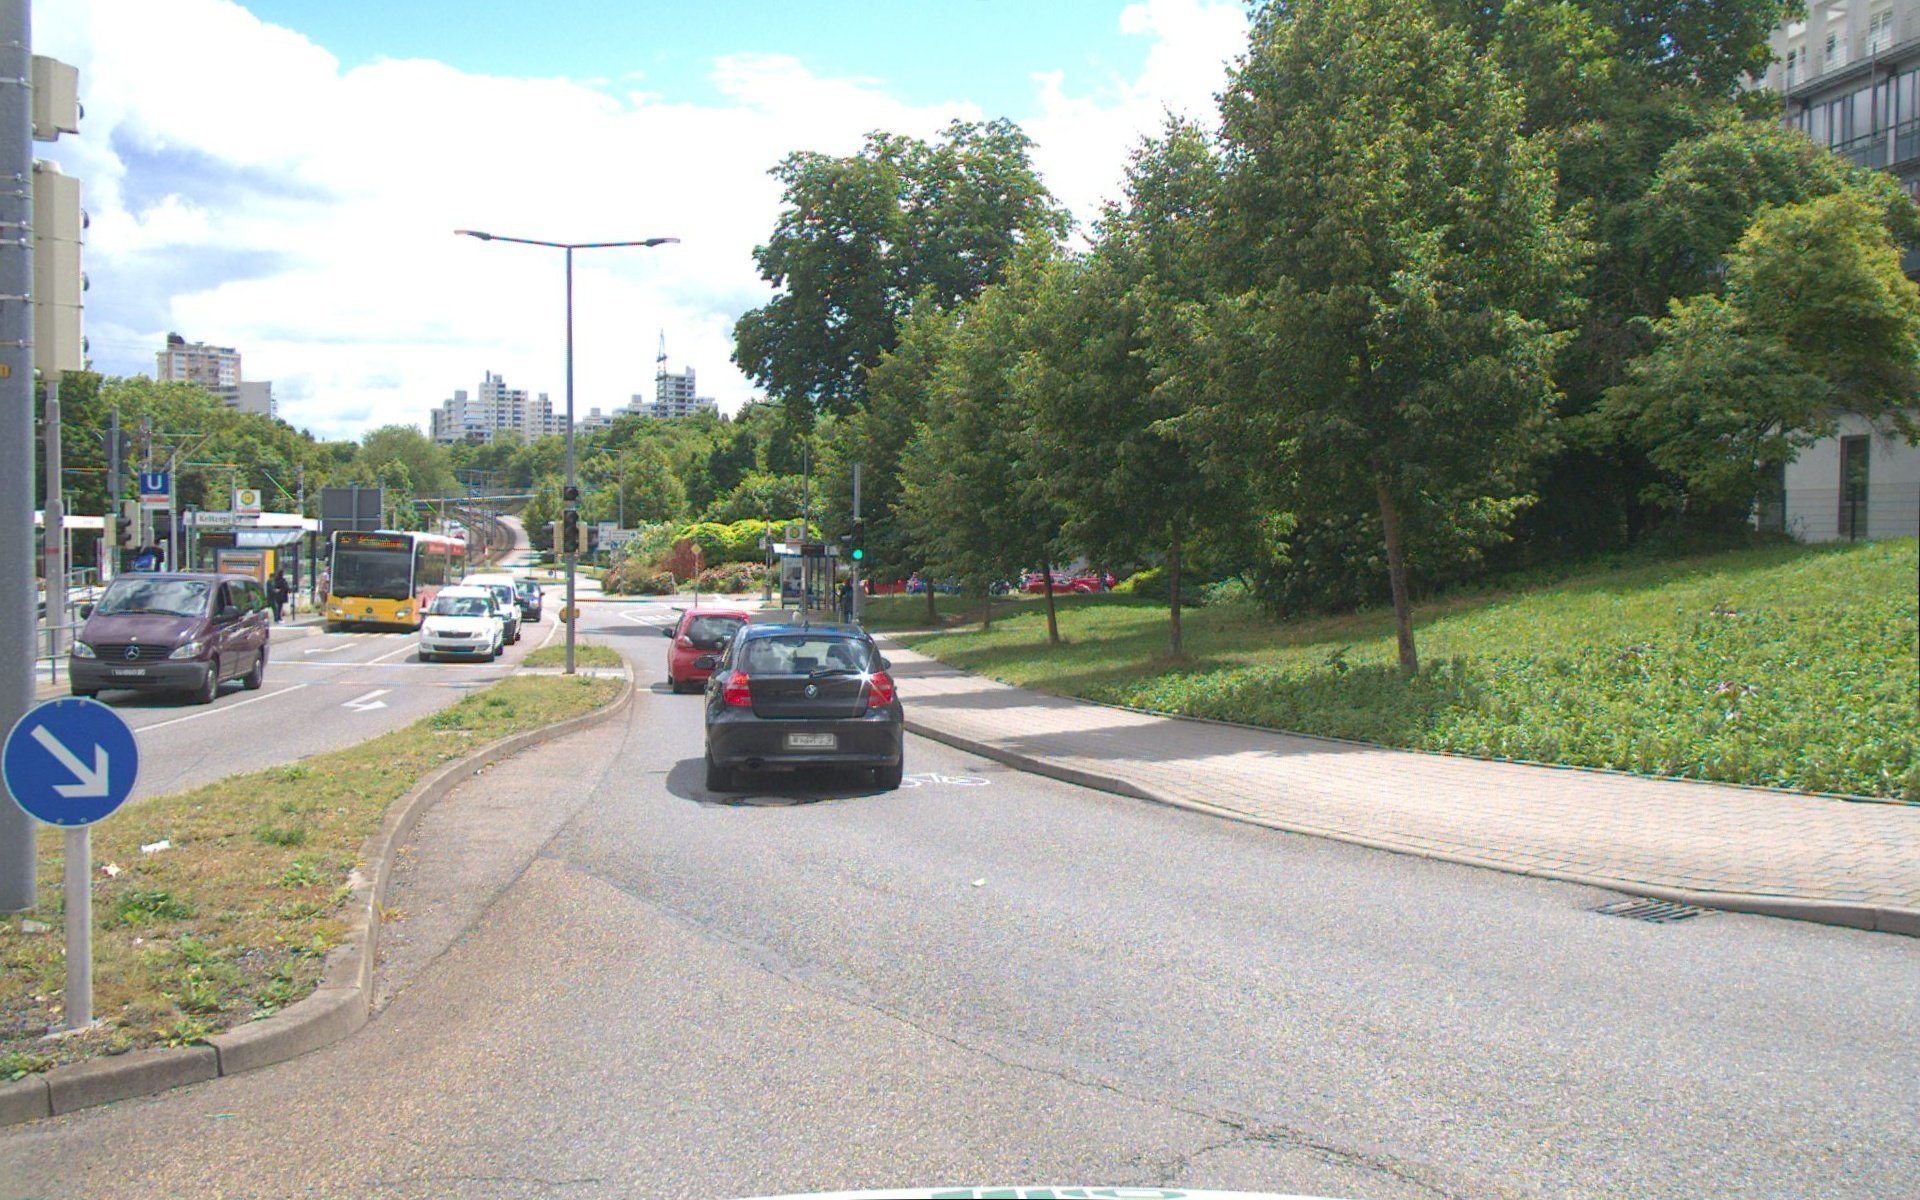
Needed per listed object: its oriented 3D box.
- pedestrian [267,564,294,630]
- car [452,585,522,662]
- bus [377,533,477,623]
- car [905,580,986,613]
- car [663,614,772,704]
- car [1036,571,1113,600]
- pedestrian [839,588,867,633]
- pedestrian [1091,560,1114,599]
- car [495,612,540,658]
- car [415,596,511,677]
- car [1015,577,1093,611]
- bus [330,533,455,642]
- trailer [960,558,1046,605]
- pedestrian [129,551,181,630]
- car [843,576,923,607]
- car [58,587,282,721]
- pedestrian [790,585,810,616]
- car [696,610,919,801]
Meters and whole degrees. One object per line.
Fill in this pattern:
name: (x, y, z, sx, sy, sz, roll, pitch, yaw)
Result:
pedestrian: (-21.412, -0.090, 52.111, 0.691, 2.049, 0.824, -1, 0, -17)
car: (-13.120, 0.600, 46.095, 1.732, 1.690, 4.492, -1, 5, -14)
bus: (-20.103, -0.955, 62.789, 2.678, 3.122, 8.938, 0, 2, -12)
car: (-0.729, -0.211, 83.737, 3.731, 1.481, 1.889, -2, 3, -16)
car: (-4.524, 1.040, 30.488, 1.735, 1.457, 3.468, -1, 1, -13)
car: (6.590, -0.869, 95.289, 4.013, 1.528, 1.993, -1, 3, -15)
pedestrian: (-3.542, 0.341, 54.716, 0.805, 1.449, 0.827, 0, 0, -12)
pedestrian: (6.626, -0.968, 76.814, 0.966, 1.791, 0.858, 0, 0, -3)
car: (-16.873, 1.317, 63.201, 1.503, 1.578, 3.720, 2, 0, -13)
car: (-11.380, 0.800, 38.078, 1.668, 1.677, 4.068, 1, 1, -11)
car: (4.825, -0.322, 85.236, 3.626, 1.672, 1.823, 0, 2, -16)
bus: (-18.203, -0.547, 53.614, 2.678, 3.163, 9.677, 0, 2, -12)
trailer: (2.436, -1.063, 94.190, 4.461, 2.530, 2.213, 0, 2, -15)
pedestrian: (-21.253, -0.257, 43.679, 0.953, 2.049, 1.026, 0, 0, -10)
car: (-4.285, -0.488, 91.993, 4.092, 1.588, 1.991, 0, 4, -18)
car: (-12.037, 0.769, 25.589, 1.959, 1.854, 5.056, 1, -1, -12)
pedestrian: (-6.871, 0.020, 71.028, 0.812, 1.281, 0.684, 0, 1, -10)
car: (-1.524, 0.854, 15.280, 1.782, 1.445, 3.992, -1, 0, -9)
